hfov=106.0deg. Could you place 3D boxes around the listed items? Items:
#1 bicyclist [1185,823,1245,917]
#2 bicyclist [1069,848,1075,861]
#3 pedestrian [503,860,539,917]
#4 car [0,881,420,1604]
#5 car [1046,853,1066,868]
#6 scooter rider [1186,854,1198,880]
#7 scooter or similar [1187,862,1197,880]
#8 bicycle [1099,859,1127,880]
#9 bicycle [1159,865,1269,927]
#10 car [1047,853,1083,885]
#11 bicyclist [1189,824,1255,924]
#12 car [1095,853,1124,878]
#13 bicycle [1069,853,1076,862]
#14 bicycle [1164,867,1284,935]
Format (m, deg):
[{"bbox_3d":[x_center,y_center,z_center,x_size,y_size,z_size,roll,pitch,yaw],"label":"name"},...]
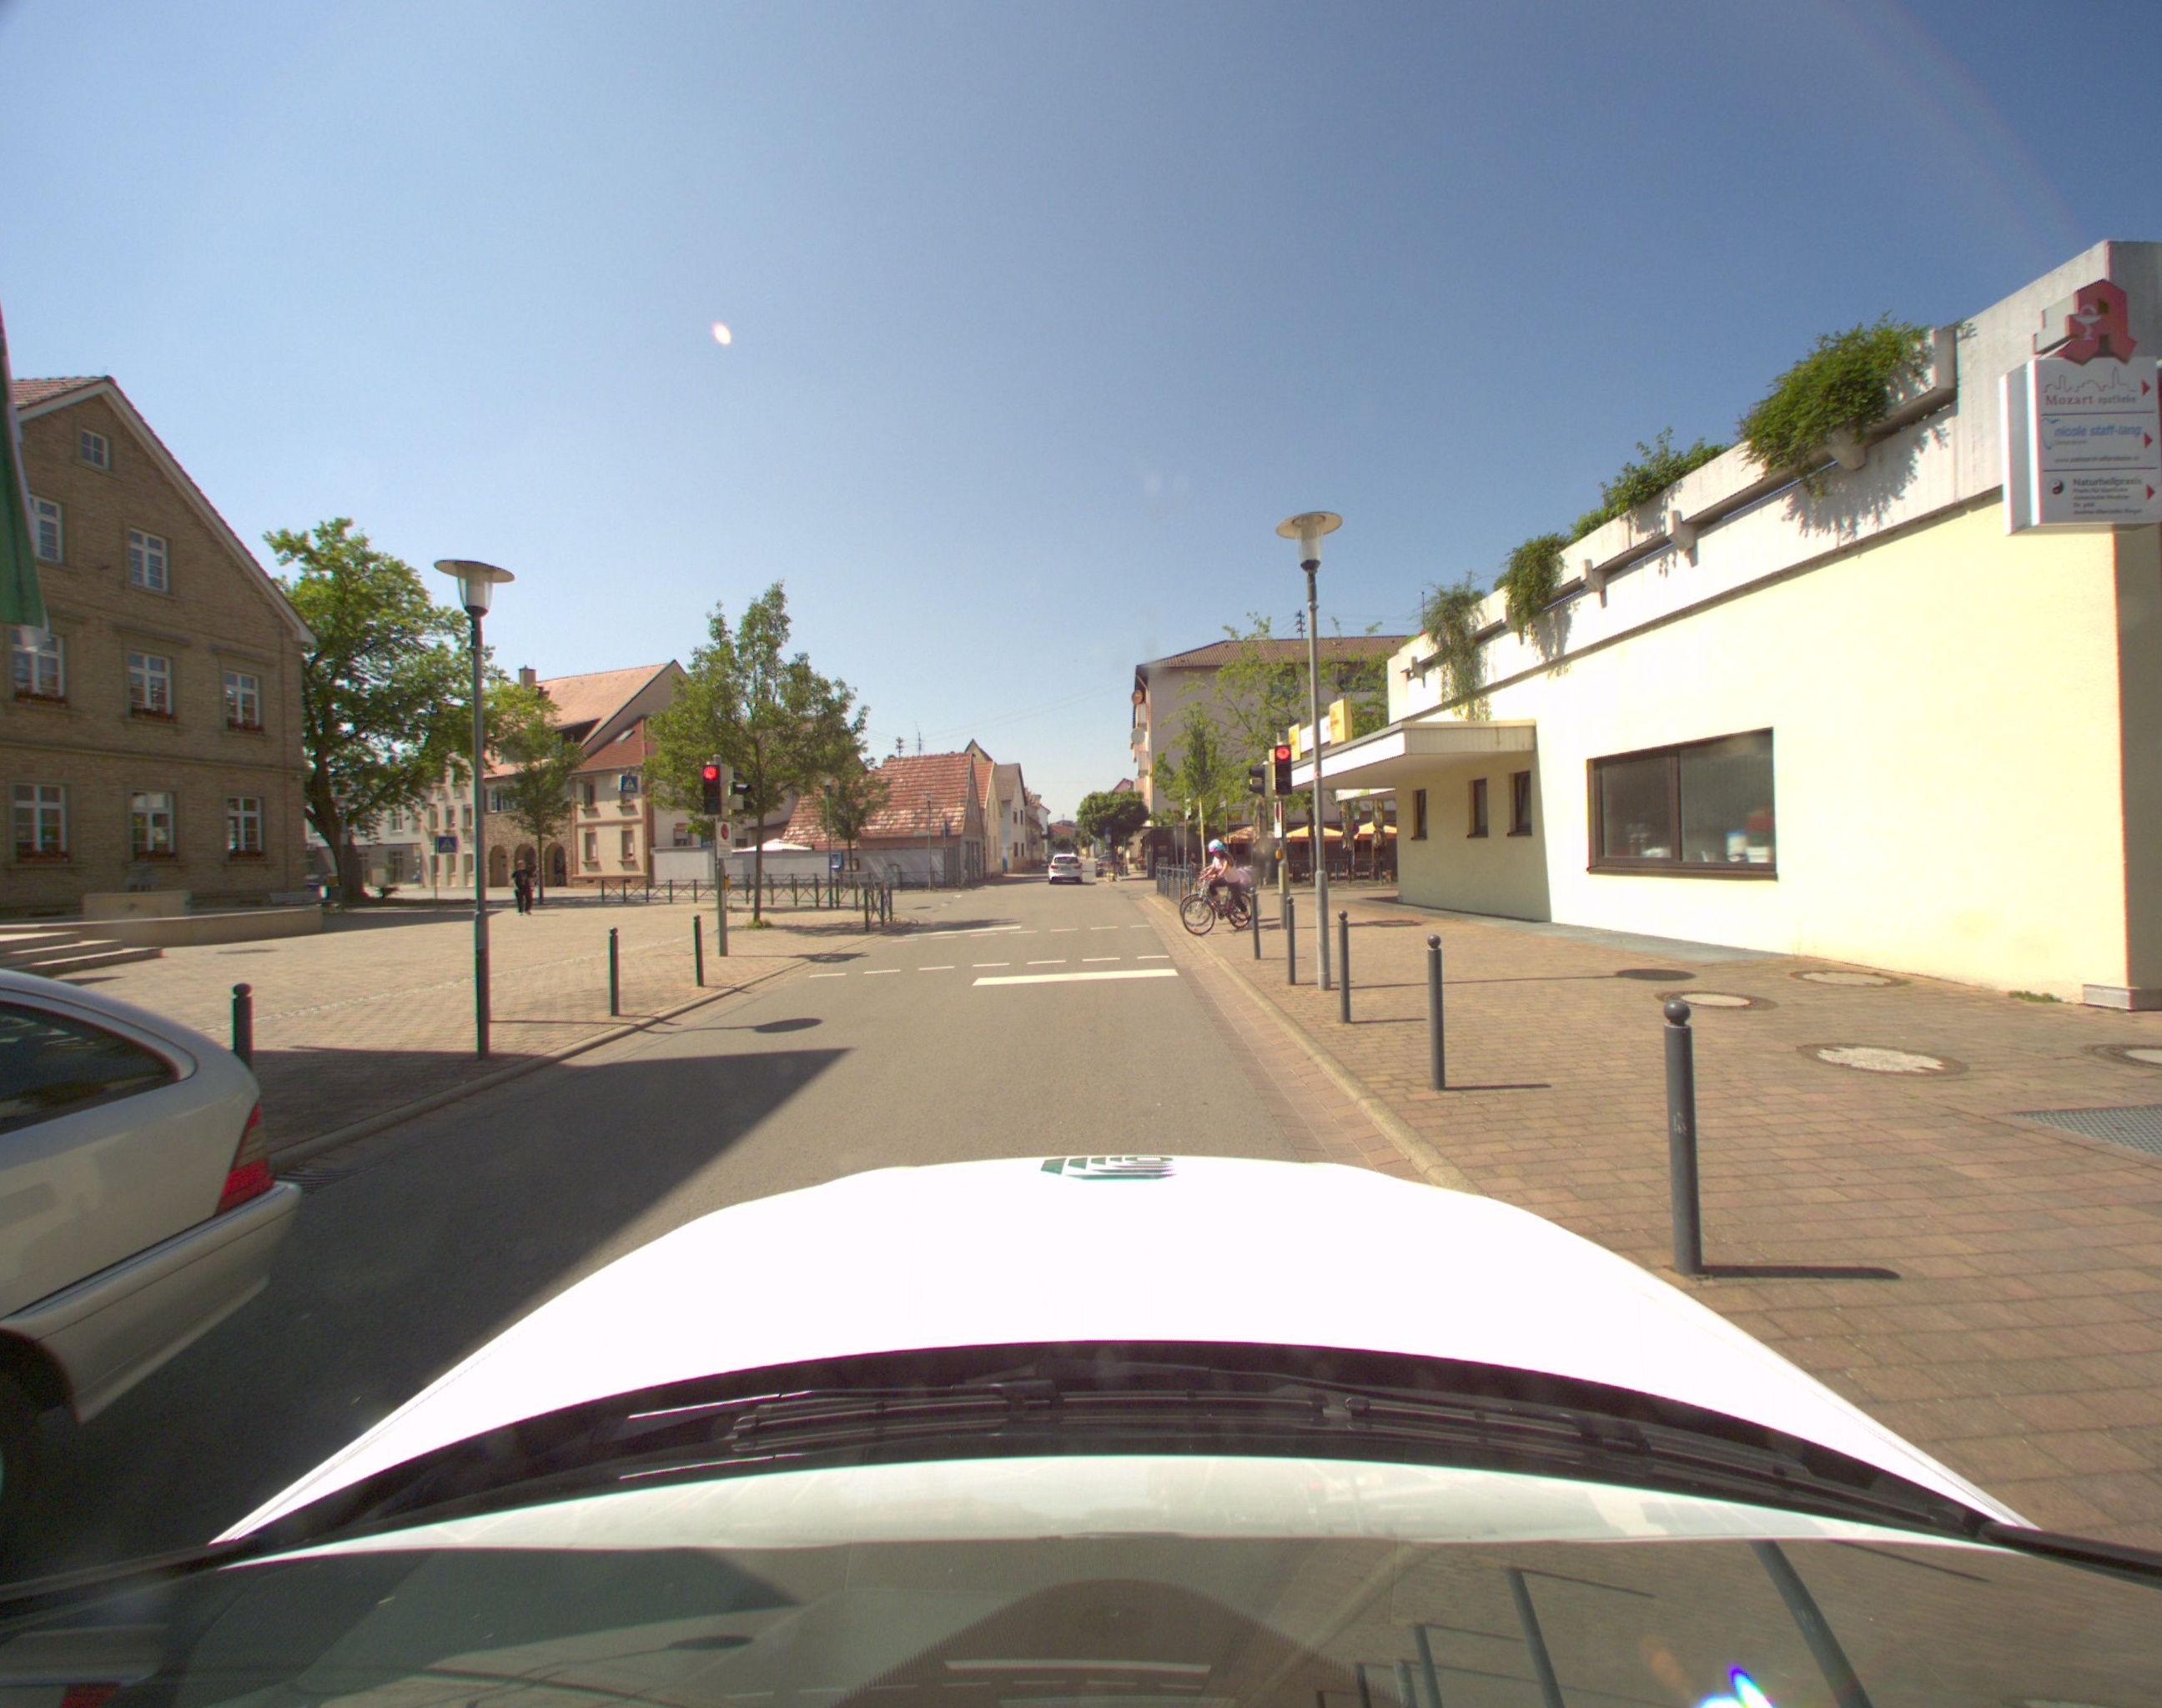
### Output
[{"bbox_3d":[2.460,0.286,14.992,0.763,1.664,0.665,-4,0,-24],"label":"bicyclist"},{"bbox_3d":[-1.027,0.026,95.826,0.670,1.483,0.771,-2,0,2],"label":"bicyclist"},{"bbox_3d":[-16.820,1.027,24.454,0.819,1.654,0.841,0,-1,-39],"label":"pedestrian"},{"bbox_3d":[-3.168,0.795,0.487,1.874,1.464,4.435,-3,-2,0],"label":"car"},{"bbox_3d":[-2.621,0.666,84.751,1.706,1.517,3.789,-2,0,3],"label":"car"},{"bbox_3d":[5.525,0.648,40.513,0.512,1.286,0.419,-2,0,14],"label":"scooter rider"},{"bbox_3d":[5.535,0.835,40.511,0.376,0.873,0.894,-2,0,14],"label":"scooter or similar"},{"bbox_3d":[1.796,0.877,45.667,0.530,1.193,1.655,-1,-1,-42],"label":"bicycle"},{"bbox_3d":[2.457,0.753,14.982,1.899,0.958,0.670,-4,0,-25],"label":"bicycle"},{"bbox_3d":[-0.926,0.772,44.619,1.830,1.652,3.996,0,1,-3],"label":"car"},{"bbox_3d":[2.367,0.327,13.731,0.762,1.581,0.666,-4,0,-23],"label":"bicyclist"},{"bbox_3d":[1.917,0.728,54.397,1.797,1.501,4.004,-2,0,3],"label":"car"},{"bbox_3d":[-1.033,0.404,95.795,0.661,1.006,1.898,-2,0,2],"label":"bicycle"},{"bbox_3d":[2.419,0.762,13.746,1.899,0.958,0.670,-4,0,-24],"label":"bicycle"}]
